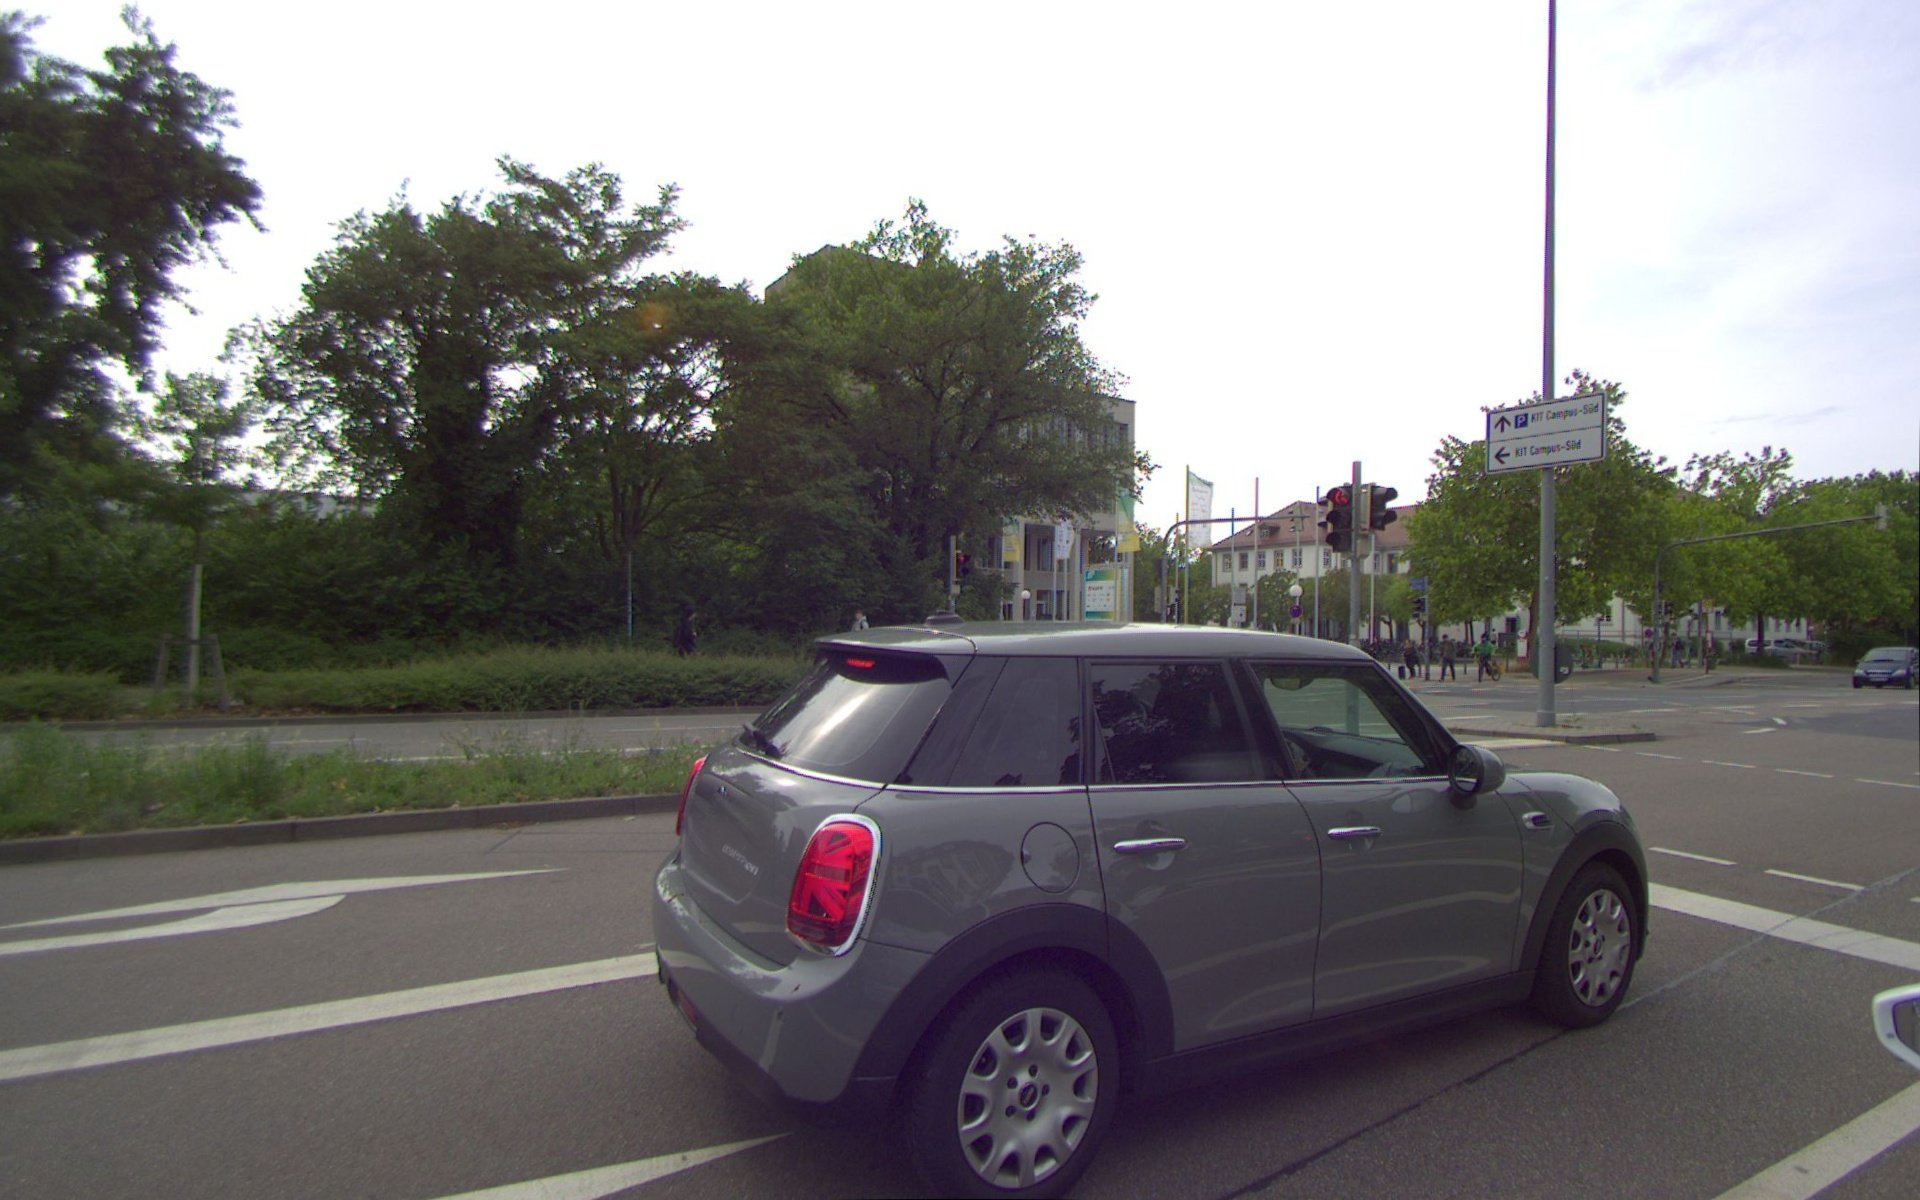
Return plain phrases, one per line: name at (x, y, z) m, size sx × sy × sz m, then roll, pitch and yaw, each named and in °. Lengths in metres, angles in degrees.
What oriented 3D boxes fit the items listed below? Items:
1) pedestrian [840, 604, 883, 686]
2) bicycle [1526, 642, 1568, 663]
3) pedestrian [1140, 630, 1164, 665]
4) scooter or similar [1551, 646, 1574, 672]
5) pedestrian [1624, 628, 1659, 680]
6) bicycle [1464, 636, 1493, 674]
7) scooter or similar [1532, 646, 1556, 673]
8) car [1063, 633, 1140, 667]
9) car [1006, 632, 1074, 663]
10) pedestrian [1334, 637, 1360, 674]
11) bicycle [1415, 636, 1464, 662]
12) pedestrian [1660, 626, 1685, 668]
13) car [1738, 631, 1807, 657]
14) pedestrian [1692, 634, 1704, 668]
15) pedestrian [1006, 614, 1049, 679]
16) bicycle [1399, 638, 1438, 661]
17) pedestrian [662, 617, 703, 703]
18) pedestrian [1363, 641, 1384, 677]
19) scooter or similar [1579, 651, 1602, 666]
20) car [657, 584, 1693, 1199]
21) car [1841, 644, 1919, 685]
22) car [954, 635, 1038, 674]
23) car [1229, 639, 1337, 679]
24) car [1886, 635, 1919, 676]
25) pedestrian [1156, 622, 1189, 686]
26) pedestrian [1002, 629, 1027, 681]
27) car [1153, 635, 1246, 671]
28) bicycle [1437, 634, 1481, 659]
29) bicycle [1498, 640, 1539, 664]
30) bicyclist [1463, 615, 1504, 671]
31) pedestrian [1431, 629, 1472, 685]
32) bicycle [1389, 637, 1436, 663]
pedestrian at (-2.507, 1.146, 25.537) m, size 0.811 × 2.040 × 0.904 m, roll 1°, pitch -2°, yaw -26°
bicycle at (33.662, 3.001, 57.657) m, size 2.005 × 1.168 × 0.718 m, roll -1°, pitch -2°, yaw 39°
pedestrian at (11.323, 2.767, 59.235) m, size 1.007 × 2.040 × 0.996 m, roll 2°, pitch -2°, yaw -34°
scooter or similar at (26.745, 2.619, 44.581) m, size 1.306 × 1.155 × 0.358 m, roll 2°, pitch -2°, yaw -34°
pedestrian at (27.467, 2.173, 40.492) m, size 1.000 × 2.040 × 0.888 m, roll 2°, pitch -2°, yaw -36°
bicycle at (20.016, 2.101, 38.777) m, size 0.597 × 1.351 × 2.303 m, roll 2°, pitch 0°, yaw 37°
scooter or similar at (25.406, 2.575, 43.697) m, size 1.306 × 1.155 × 0.358 m, roll 2°, pitch -2°, yaw -34°
car at (7.565, 2.664, 53.990) m, size 1.980 × 1.601 × 3.961 m, roll 2°, pitch 0°, yaw -35°
car at (4.594, 2.735, 58.212) m, size 1.835 × 1.706 × 3.961 m, roll 2°, pitch -2°, yaw -35°
pedestrian at (16.647, 2.369, 43.204) m, size 0.812 × 1.533 × 0.971 m, roll 2°, pitch 0°, yaw 37°
bicycle at (30.522, 3.117, 63.958) m, size 0.916 × 1.579 × 2.633 m, roll 2°, pitch -2°, yaw -43°
pedestrian at (35.330, 2.333, 49.802) m, size 0.919 × 2.040 × 0.795 m, roll 2°, pitch 0°, yaw -40°
car at (58.685, 3.161, 72.552) m, size 1.636 × 1.623 × 3.561 m, roll 2°, pitch 0°, yaw -35°
pedestrian at (38.592, 2.660, 52.528) m, size 0.430 × 1.762 × 0.415 m, roll 2°, pitch 0°, yaw -40°
pedestrian at (2.233, 1.502, 33.002) m, size 1.022 × 2.040 × 1.099 m, roll 2°, pitch 0°, yaw 25°
bicycle at (31.853, 3.446, 69.832) m, size 0.907 × 1.579 × 2.658 m, roll 1°, pitch -2°, yaw -16°
pedestrian at (-5.699, 1.213, 20.646) m, size 0.645 × 1.717 × 0.586 m, roll 2°, pitch 0°, yaw -31°
pedestrian at (17.413, 2.490, 42.274) m, size 0.687 × 1.447 × 0.999 m, roll 2°, pitch 0°, yaw 28°
scooter or similar at (30.805, 2.857, 49.071) m, size 1.274 × 0.703 × 0.404 m, roll 2°, pitch 0°, yaw -31°
car at (0.923, 0.703, 3.745) m, size 3.662 × 1.335 × 1.613 m, roll 2°, pitch -2°, yaw -30°
car at (35.729, 2.456, 38.549) m, size 3.654 × 1.483 × 1.844 m, roll 2°, pitch -2°, yaw -31°
car at (1.495, 2.290, 42.636) m, size 1.844 × 1.469 × 3.562 m, roll 2°, pitch -1°, yaw -34°
car at (14.185, 2.542, 44.281) m, size 1.982 × 1.491 × 4.111 m, roll 2°, pitch 0°, yaw -37°
car at (40.874, 2.328, 41.991) m, size 3.949 × 1.641 × 1.986 m, roll 2°, pitch -2°, yaw -28°
pedestrian at (7.098, 1.789, 33.558) m, size 0.844 × 2.086 × 0.662 m, roll 2°, pitch -2°, yaw -34°
pedestrian at (1.733, 1.734, 31.881) m, size 0.598 × 1.628 × 0.497 m, roll 2°, pitch -1°, yaw -42°
car at (11.440, 2.514, 48.186) m, size 1.982 × 1.491 × 3.958 m, roll 2°, pitch 0°, yaw -37°
bicycle at (32.623, 3.011, 65.662) m, size 0.916 × 1.579 × 2.421 m, roll 2°, pitch -2°, yaw -44°
bicycle at (38.150, 3.523, 68.599) m, size 0.715 × 1.615 × 2.382 m, roll 2°, pitch -2°, yaw -37°
bicyclist at (20.107, 1.633, 38.552) m, size 1.165 × 2.040 × 1.277 m, roll 2°, pitch 0°, yaw 37°
pedestrian at (18.623, 2.124, 38.075) m, size 1.165 × 2.040 × 1.138 m, roll 2°, pitch 0°, yaw 37°
bicycle at (28.538, 3.161, 63.395) m, size 0.774 × 1.579 × 2.637 m, roll 2°, pitch -2°, yaw -39°
